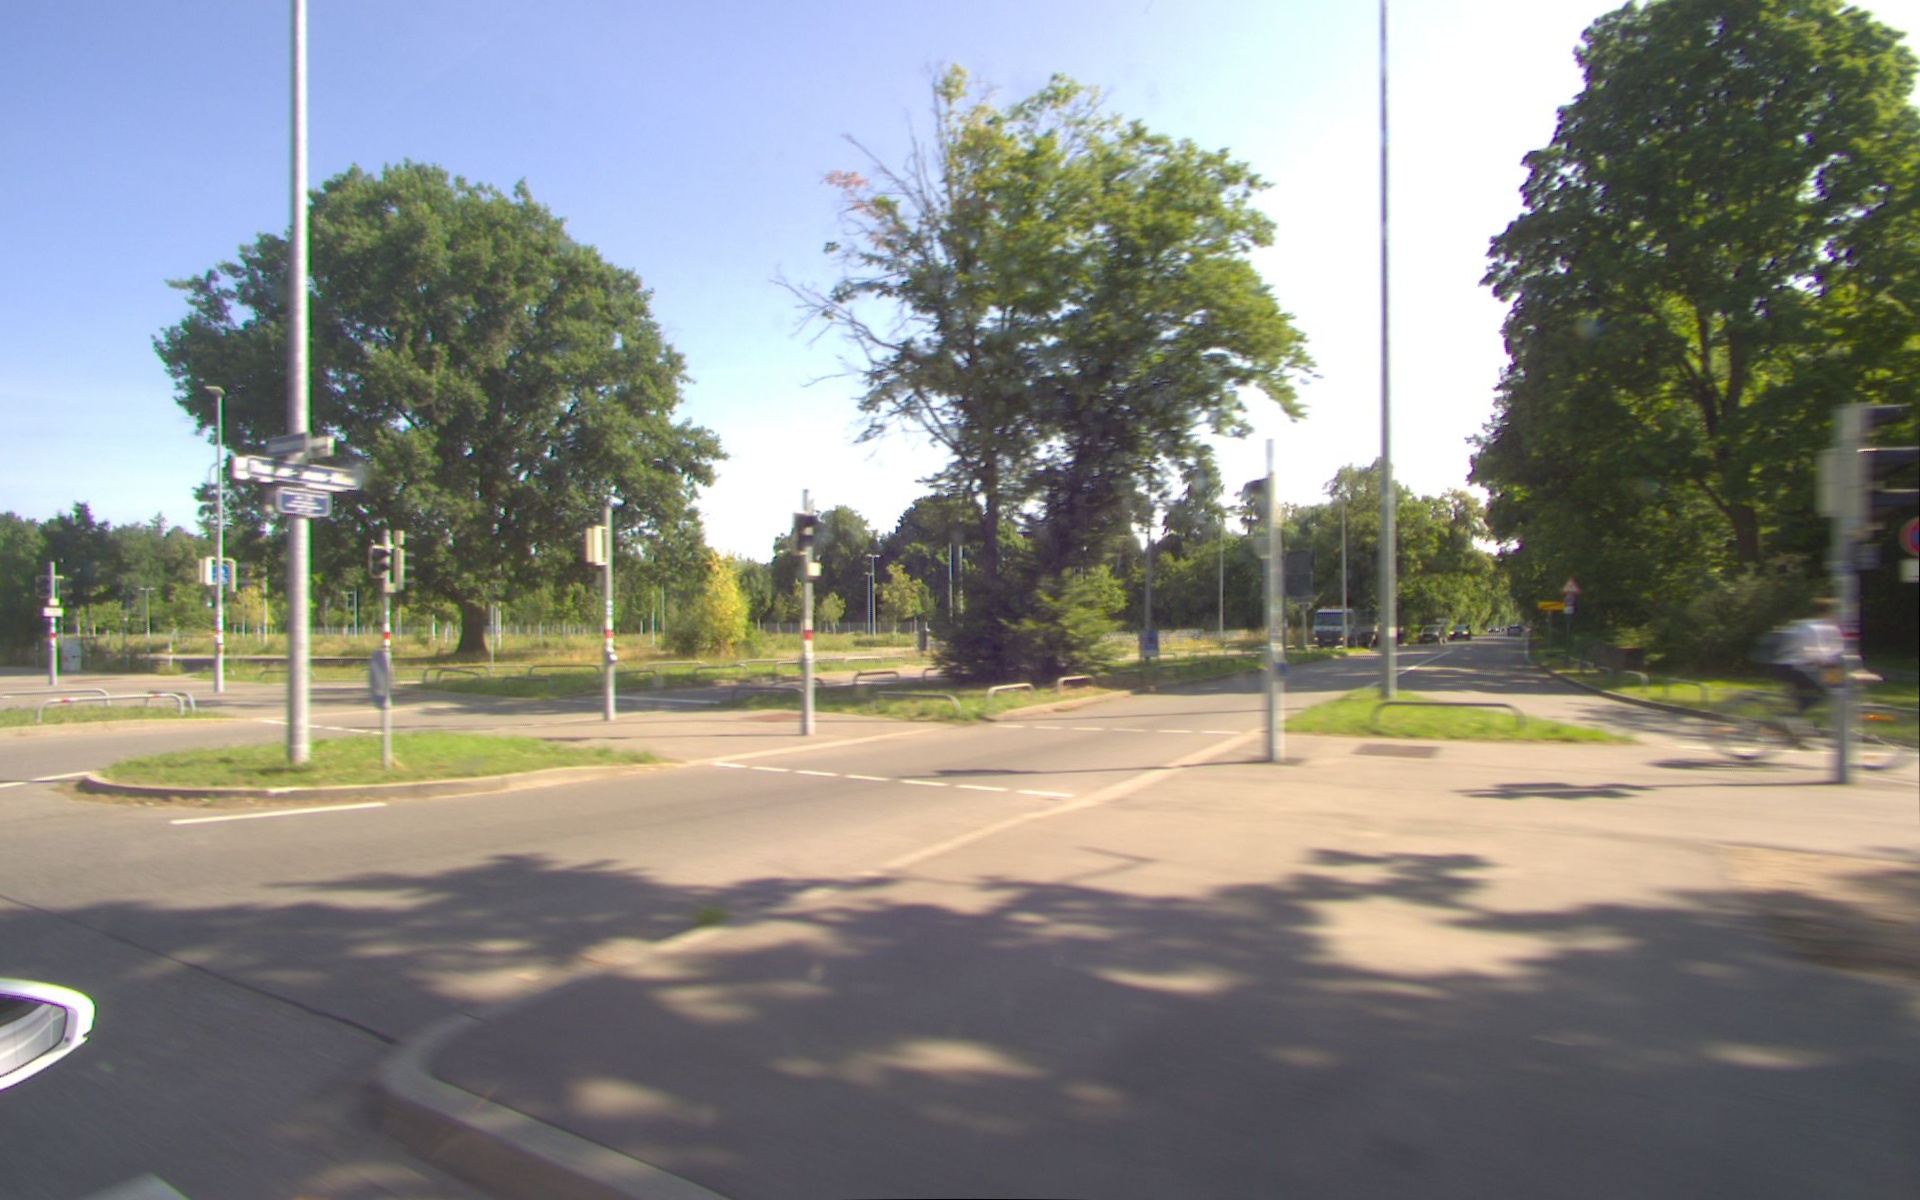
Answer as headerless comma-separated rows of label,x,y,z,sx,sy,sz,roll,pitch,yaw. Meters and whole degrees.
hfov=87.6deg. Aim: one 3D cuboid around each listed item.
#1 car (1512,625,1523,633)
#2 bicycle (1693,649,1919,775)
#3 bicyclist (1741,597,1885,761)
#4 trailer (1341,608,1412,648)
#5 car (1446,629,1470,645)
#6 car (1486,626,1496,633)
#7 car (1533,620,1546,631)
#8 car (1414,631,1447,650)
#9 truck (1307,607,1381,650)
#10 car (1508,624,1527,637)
car,116.974,6.042,210.008,1.735,1.527,3.979,-1,-1,33
bicycle,9.102,1.145,10.622,2.069,1.215,0.723,-1,-1,30
bicyclist,9.050,0.811,10.677,1.042,1.660,0.723,0,-1,30
trailer,29.936,2.044,71.844,2.673,2.722,6.834,-1,-2,41
car,51.730,3.820,103.934,1.970,1.505,3.982,-1,-1,30
car,98.689,5.480,186.252,1.602,1.420,3.469,0,-1,28
car,109.431,4.841,189.135,1.855,2.039,3.979,-1,-1,33
car,40.215,3.436,85.551,1.823,1.503,3.974,-1,-1,37
truck,25.722,1.916,66.916,2.650,2.752,6.154,-1,-2,41
car,76.803,4.217,137.962,1.972,1.794,3.979,-1,-1,33
